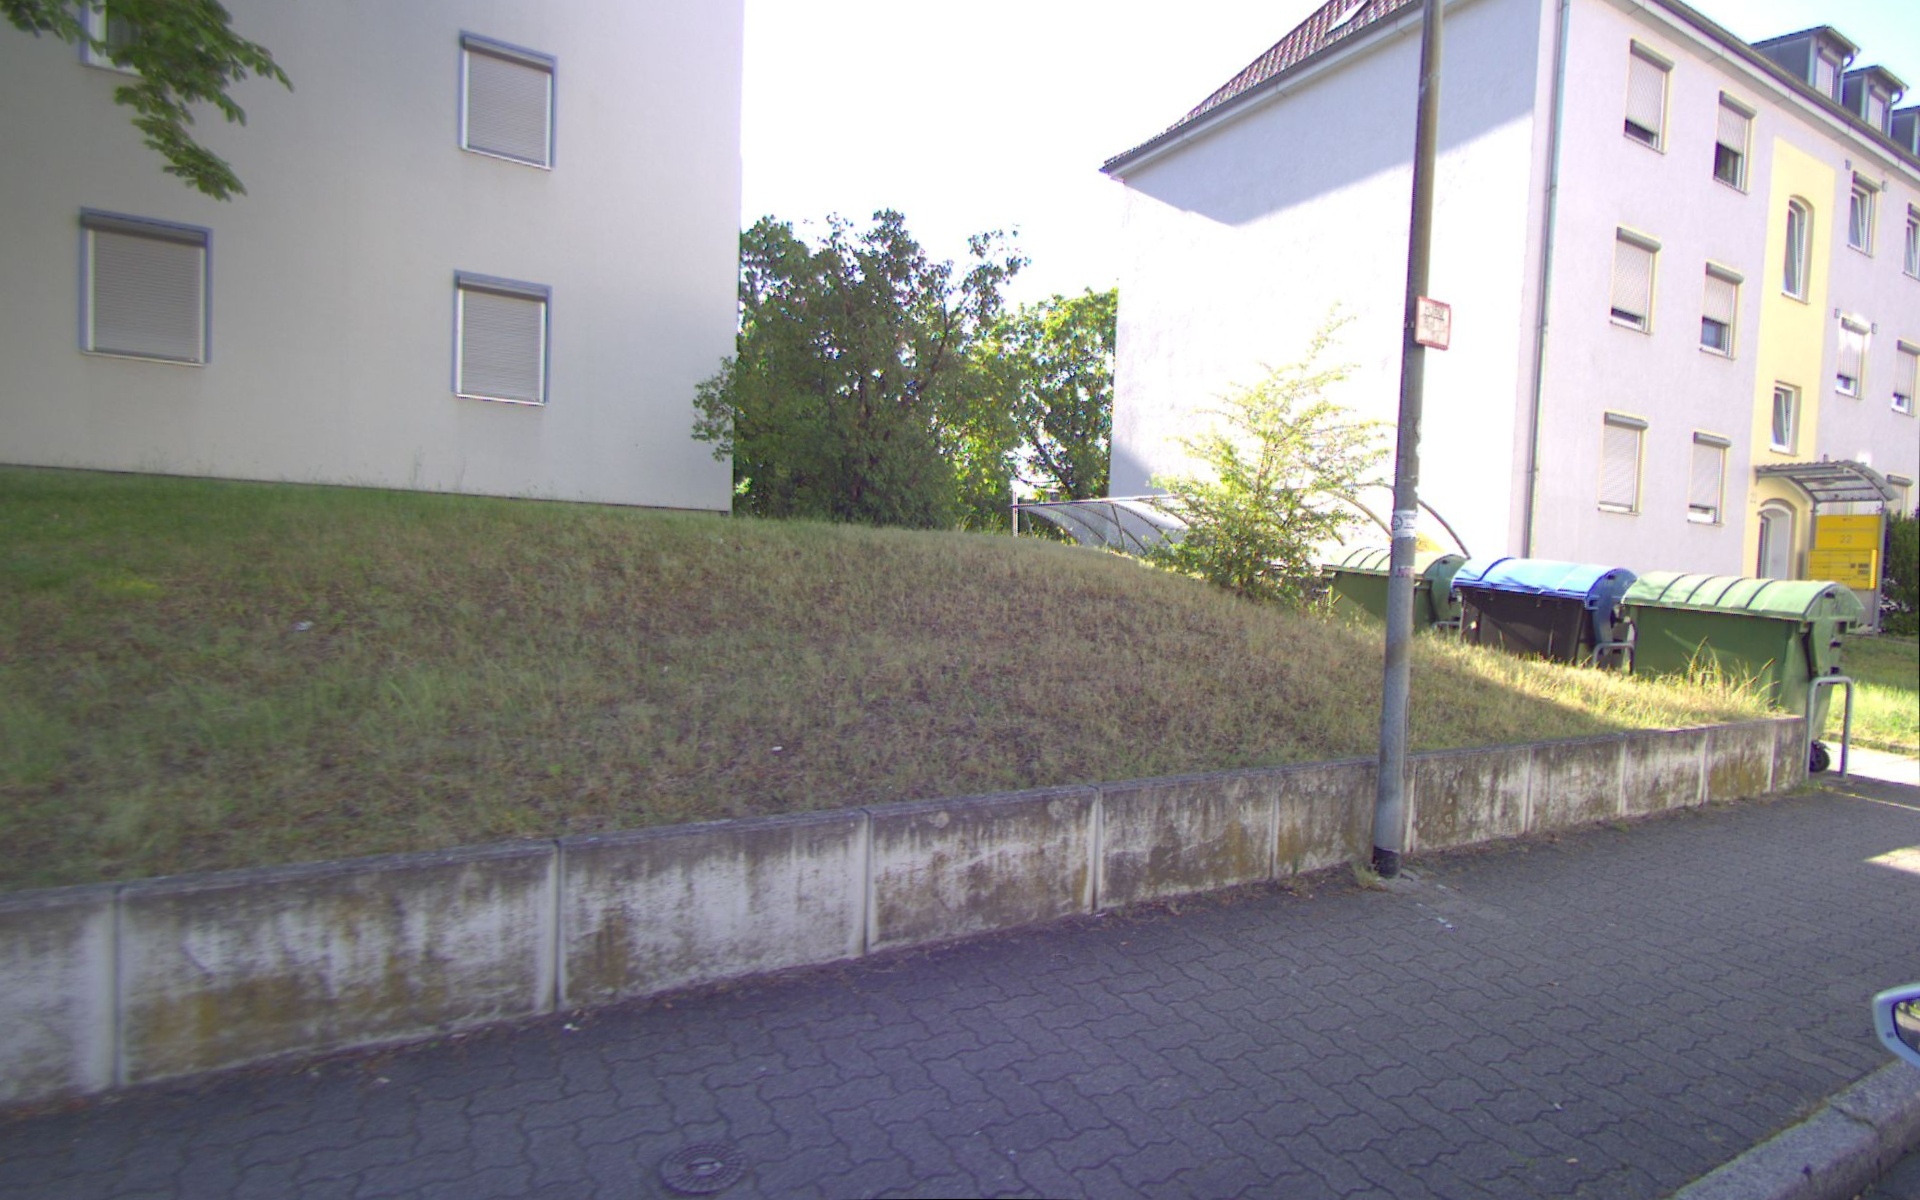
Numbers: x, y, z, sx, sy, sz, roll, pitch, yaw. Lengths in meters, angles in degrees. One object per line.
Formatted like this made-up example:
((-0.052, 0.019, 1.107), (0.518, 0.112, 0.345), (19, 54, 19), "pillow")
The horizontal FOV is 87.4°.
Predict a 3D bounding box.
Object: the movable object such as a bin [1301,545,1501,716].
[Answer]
((4.594, 0.274, 10.543), (1.177, 1.635, 1.452), (1, 2, -30), "movable object such as a bin")

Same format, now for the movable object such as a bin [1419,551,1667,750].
((5.343, 0.402, 9.279), (1.249, 1.644, 1.492), (1, 2, -30), "movable object such as a bin")

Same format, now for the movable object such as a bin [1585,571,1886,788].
((6.146, 0.557, 8.030), (1.250, 1.498, 1.485), (1, 2, -30), "movable object such as a bin")
